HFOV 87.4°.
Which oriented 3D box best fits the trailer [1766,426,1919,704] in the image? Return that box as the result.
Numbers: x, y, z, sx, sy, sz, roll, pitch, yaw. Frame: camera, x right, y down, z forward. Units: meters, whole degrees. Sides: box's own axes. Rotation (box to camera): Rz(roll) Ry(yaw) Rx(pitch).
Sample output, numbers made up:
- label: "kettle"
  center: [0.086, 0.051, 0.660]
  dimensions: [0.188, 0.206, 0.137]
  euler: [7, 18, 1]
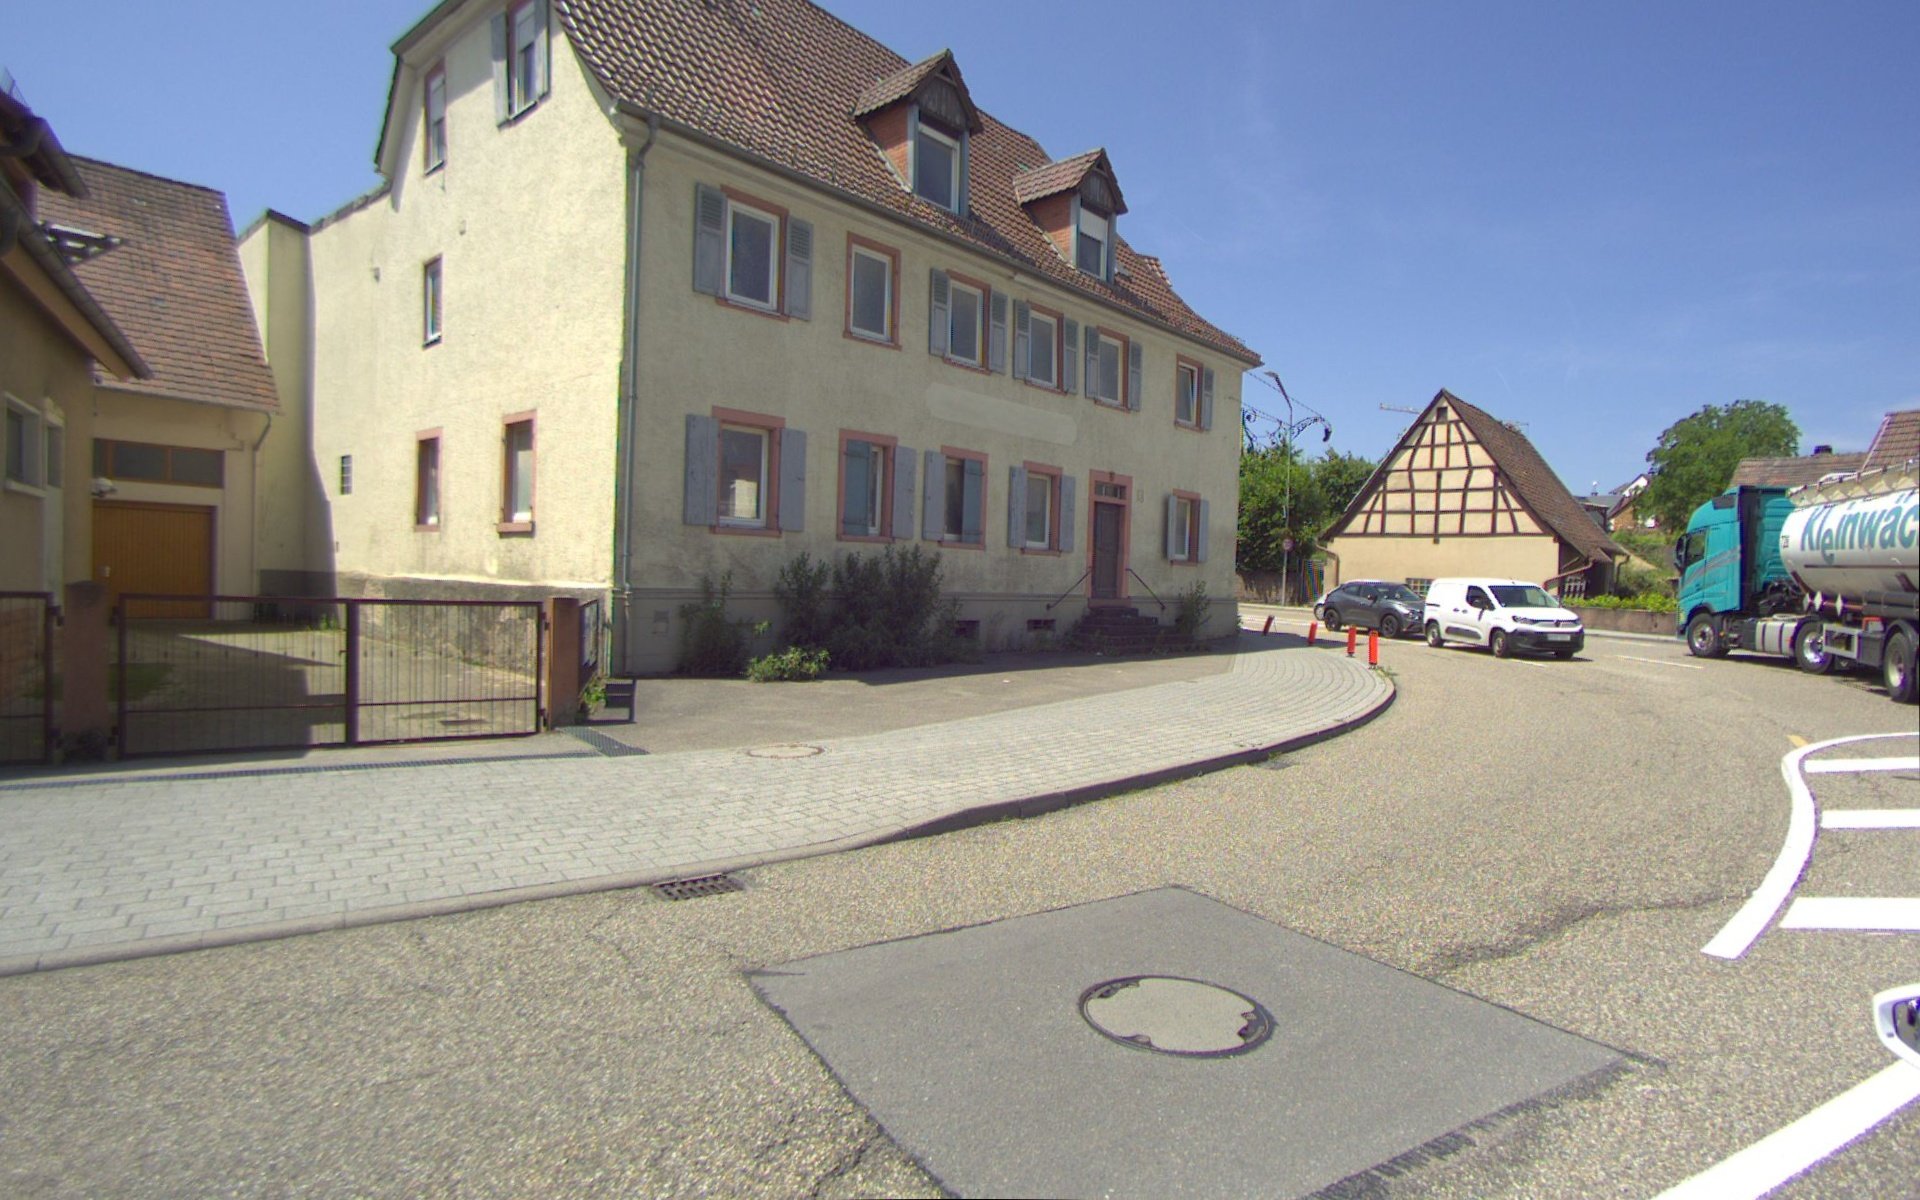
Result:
- label: "trailer"
  center: [15.855, -0.466, 15.360]
  dimensions: [2.907, 4.001, 11.603]
  euler: [4, 2, 27]

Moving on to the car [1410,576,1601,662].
- label: "car"
  center: [13.220, 0.385, 24.723]
  dimensions: [1.844, 1.809, 4.516]
  euler: [1, 2, -6]

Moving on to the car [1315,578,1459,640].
- label: "car"
  center: [12.730, 0.228, 30.204]
  dimensions: [1.769, 1.544, 3.984]
  euler: [2, 3, -17]

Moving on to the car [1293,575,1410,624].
- label: "car"
  center: [14.013, -0.046, 36.127]
  dimensions: [1.766, 1.606, 3.579]
  euler: [2, 1, -28]

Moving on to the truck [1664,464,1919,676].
- label: "truck"
  center: [18.653, -0.630, 22.039]
  dimensions: [2.937, 4.018, 5.581]
  euler: [3, 2, 10]
